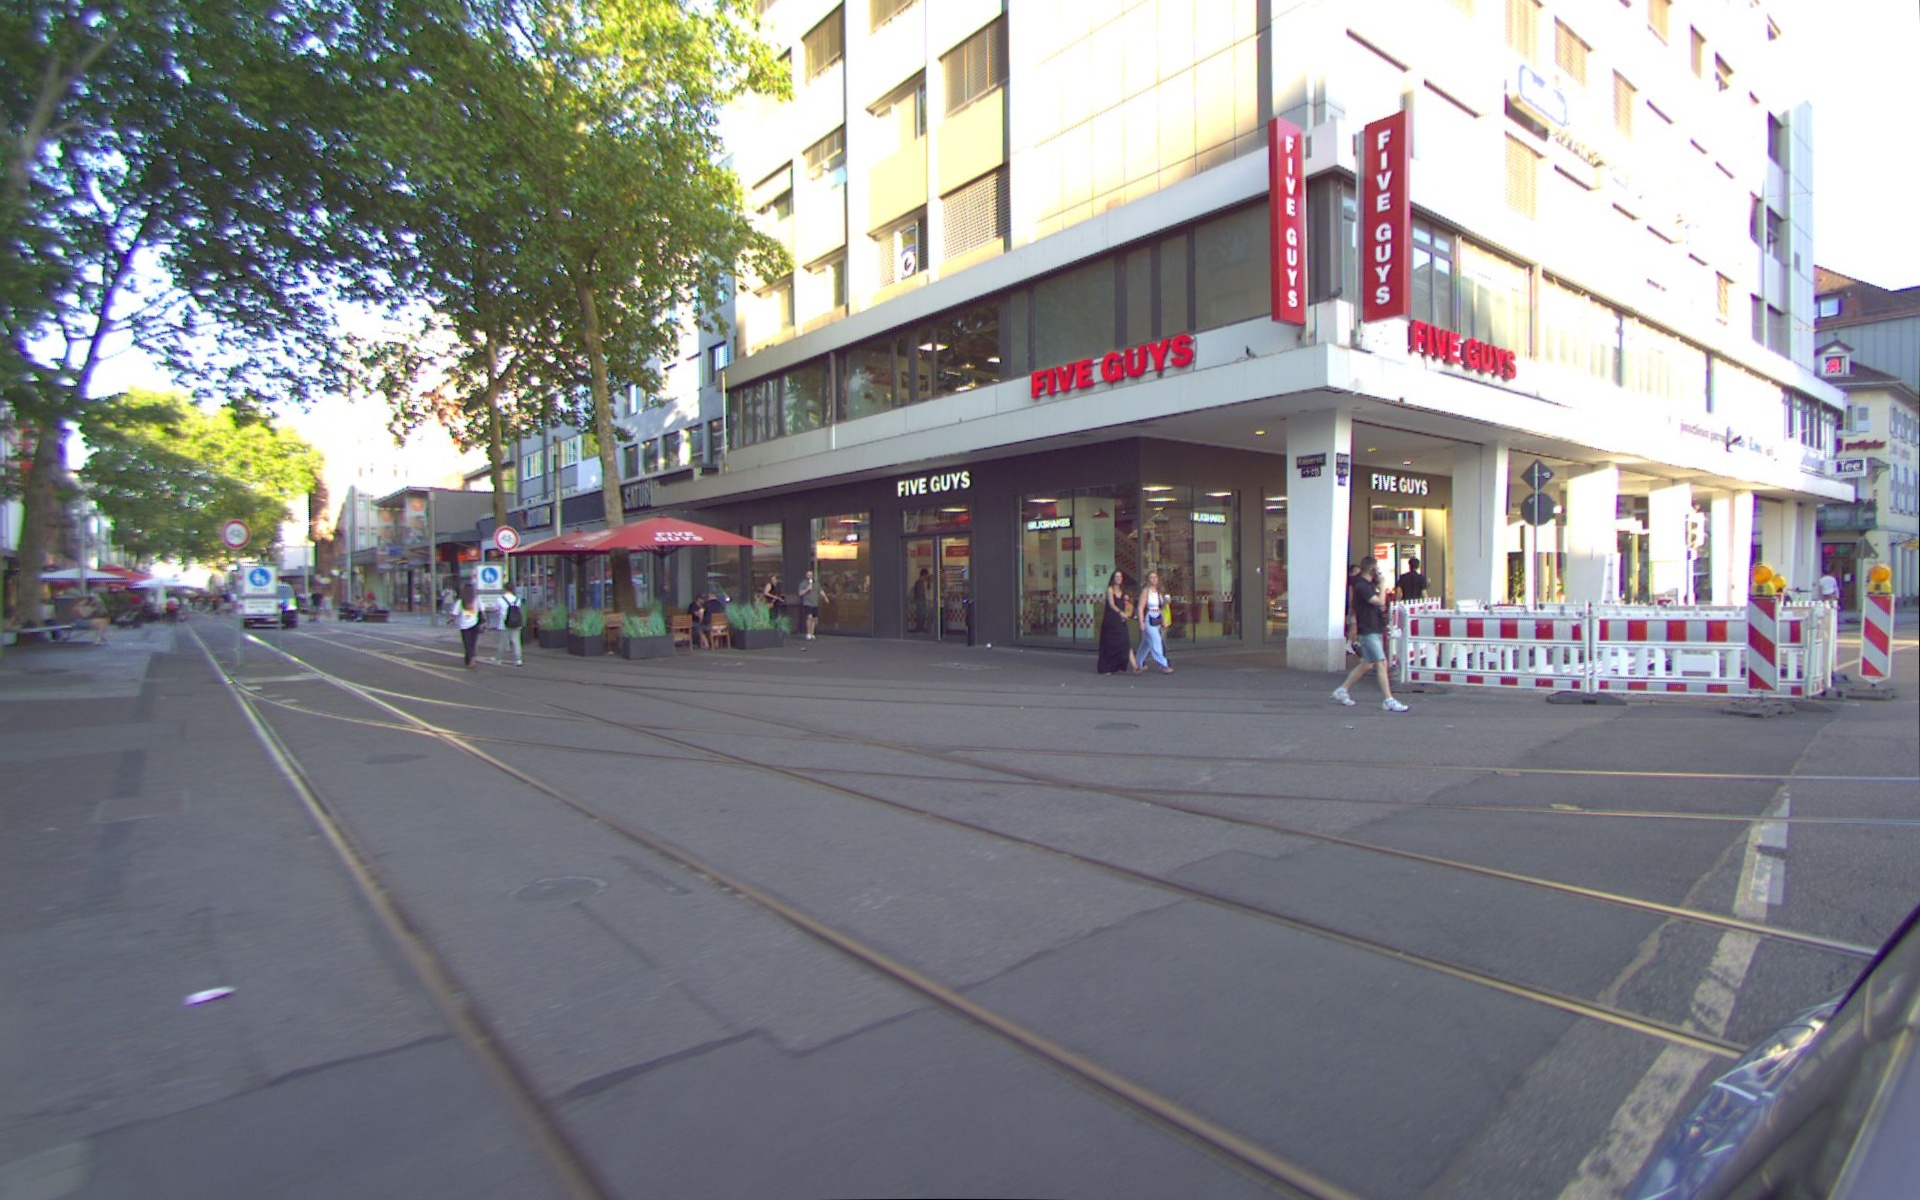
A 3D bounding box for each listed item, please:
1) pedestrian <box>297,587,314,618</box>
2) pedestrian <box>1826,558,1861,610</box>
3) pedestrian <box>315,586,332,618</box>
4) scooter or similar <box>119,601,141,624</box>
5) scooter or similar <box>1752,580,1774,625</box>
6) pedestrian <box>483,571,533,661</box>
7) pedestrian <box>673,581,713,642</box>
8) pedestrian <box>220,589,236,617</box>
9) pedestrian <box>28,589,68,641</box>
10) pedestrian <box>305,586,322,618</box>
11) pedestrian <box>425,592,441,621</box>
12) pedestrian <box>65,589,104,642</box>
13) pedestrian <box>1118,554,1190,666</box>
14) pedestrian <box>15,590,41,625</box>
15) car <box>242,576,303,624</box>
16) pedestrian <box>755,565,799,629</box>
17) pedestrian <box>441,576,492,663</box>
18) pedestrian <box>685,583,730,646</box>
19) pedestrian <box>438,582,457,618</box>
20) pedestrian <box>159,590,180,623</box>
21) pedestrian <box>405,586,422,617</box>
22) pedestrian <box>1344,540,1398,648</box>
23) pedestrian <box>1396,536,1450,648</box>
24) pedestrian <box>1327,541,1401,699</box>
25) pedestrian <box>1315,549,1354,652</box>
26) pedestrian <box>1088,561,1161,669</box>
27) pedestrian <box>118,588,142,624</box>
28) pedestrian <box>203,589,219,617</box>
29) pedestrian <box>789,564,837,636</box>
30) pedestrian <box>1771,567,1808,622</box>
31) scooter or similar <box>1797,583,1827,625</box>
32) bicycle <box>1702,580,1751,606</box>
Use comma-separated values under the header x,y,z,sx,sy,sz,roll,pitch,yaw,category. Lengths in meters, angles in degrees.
x,y,z,sx,sy,sz,roll,pitch,yaw,category
-34.134,0.131,52.804,0.651,1.631,0.663,-1,-1,-39,pedestrian
31.990,-0.581,36.644,0.835,1.839,0.702,-1,-1,-32,pedestrian
-33.548,0.112,53.363,0.651,1.631,0.663,-1,-1,-39,pedestrian
-37.849,0.575,46.156,0.771,0.981,0.663,-1,-1,-39,scooter or similar
27.841,0.072,35.094,1.291,1.507,0.314,-1,0,-39,scooter or similar
-9.089,0.308,20.326,0.701,1.757,0.777,-1,-1,-39,pedestrian
-6.268,0.275,23.734,0.678,1.387,0.643,-1,-1,-39,pedestrian
-47.462,0.201,65.620,0.746,1.749,0.663,-1,-1,-39,pedestrian
-25.563,0.413,28.366,0.769,1.433,0.777,-1,-1,-39,pedestrian
-33.398,0.105,52.266,0.651,1.631,0.663,-1,-1,-39,pedestrian
-30.702,0.364,58.943,0.651,1.631,0.663,-1,-1,-39,pedestrian
-24.204,0.420,27.994,0.765,1.433,0.782,-1,-1,-39,pedestrian
3.149,0.155,16.424,0.759,1.757,0.789,-1,-1,-39,pedestrian
-43.945,0.364,47.731,0.818,1.631,0.663,-1,-1,-40,pedestrian
-30.931,0.021,45.487,1.964,2.039,4.290,-2,0,-38,car
-4.955,-0.077,27.392,0.826,1.715,0.840,-1,-1,-38,pedestrian
-9.732,0.377,19.955,0.714,1.682,0.777,-1,-1,-39,pedestrian
-5.716,0.333,22.896,0.678,1.387,0.777,-1,-1,-39,pedestrian
-23.819,-0.010,47.013,0.651,1.631,0.663,-1,-1,-39,pedestrian
-39.136,0.325,50.102,0.818,1.631,0.663,-1,-1,-40,pedestrian
-29.479,0.079,54.612,0.651,1.631,0.663,-1,-1,-39,pedestrian
7.917,-0.116,19.514,0.506,2.039,0.783,-2,-1,-17,pedestrian
8.601,-0.145,18.816,0.461,2.039,0.708,-1,-1,-25,pedestrian
4.750,0.238,11.938,0.714,1.792,0.667,-2,-1,19,pedestrian
7.566,0.004,20.471,0.462,2.039,0.707,-2,-1,3,pedestrian
2.588,0.230,15.923,0.701,1.651,0.826,-1,-1,-39,pedestrian
-38.260,0.265,46.648,0.818,1.631,0.663,-1,-1,-40,pedestrian
-47.669,0.206,64.394,0.746,1.749,0.663,-1,-1,-39,pedestrian
-3.627,-0.002,24.999,0.826,1.715,0.840,-1,-1,-38,pedestrian
26.575,-0.168,32.442,0.691,1.714,0.538,-2,-1,15,pedestrian
26.235,0.107,31.162,1.159,1.250,0.506,-1,0,-40,scooter or similar
37.039,-0.342,48.896,1.809,1.196,0.773,-2,-1,-8,bicycle
